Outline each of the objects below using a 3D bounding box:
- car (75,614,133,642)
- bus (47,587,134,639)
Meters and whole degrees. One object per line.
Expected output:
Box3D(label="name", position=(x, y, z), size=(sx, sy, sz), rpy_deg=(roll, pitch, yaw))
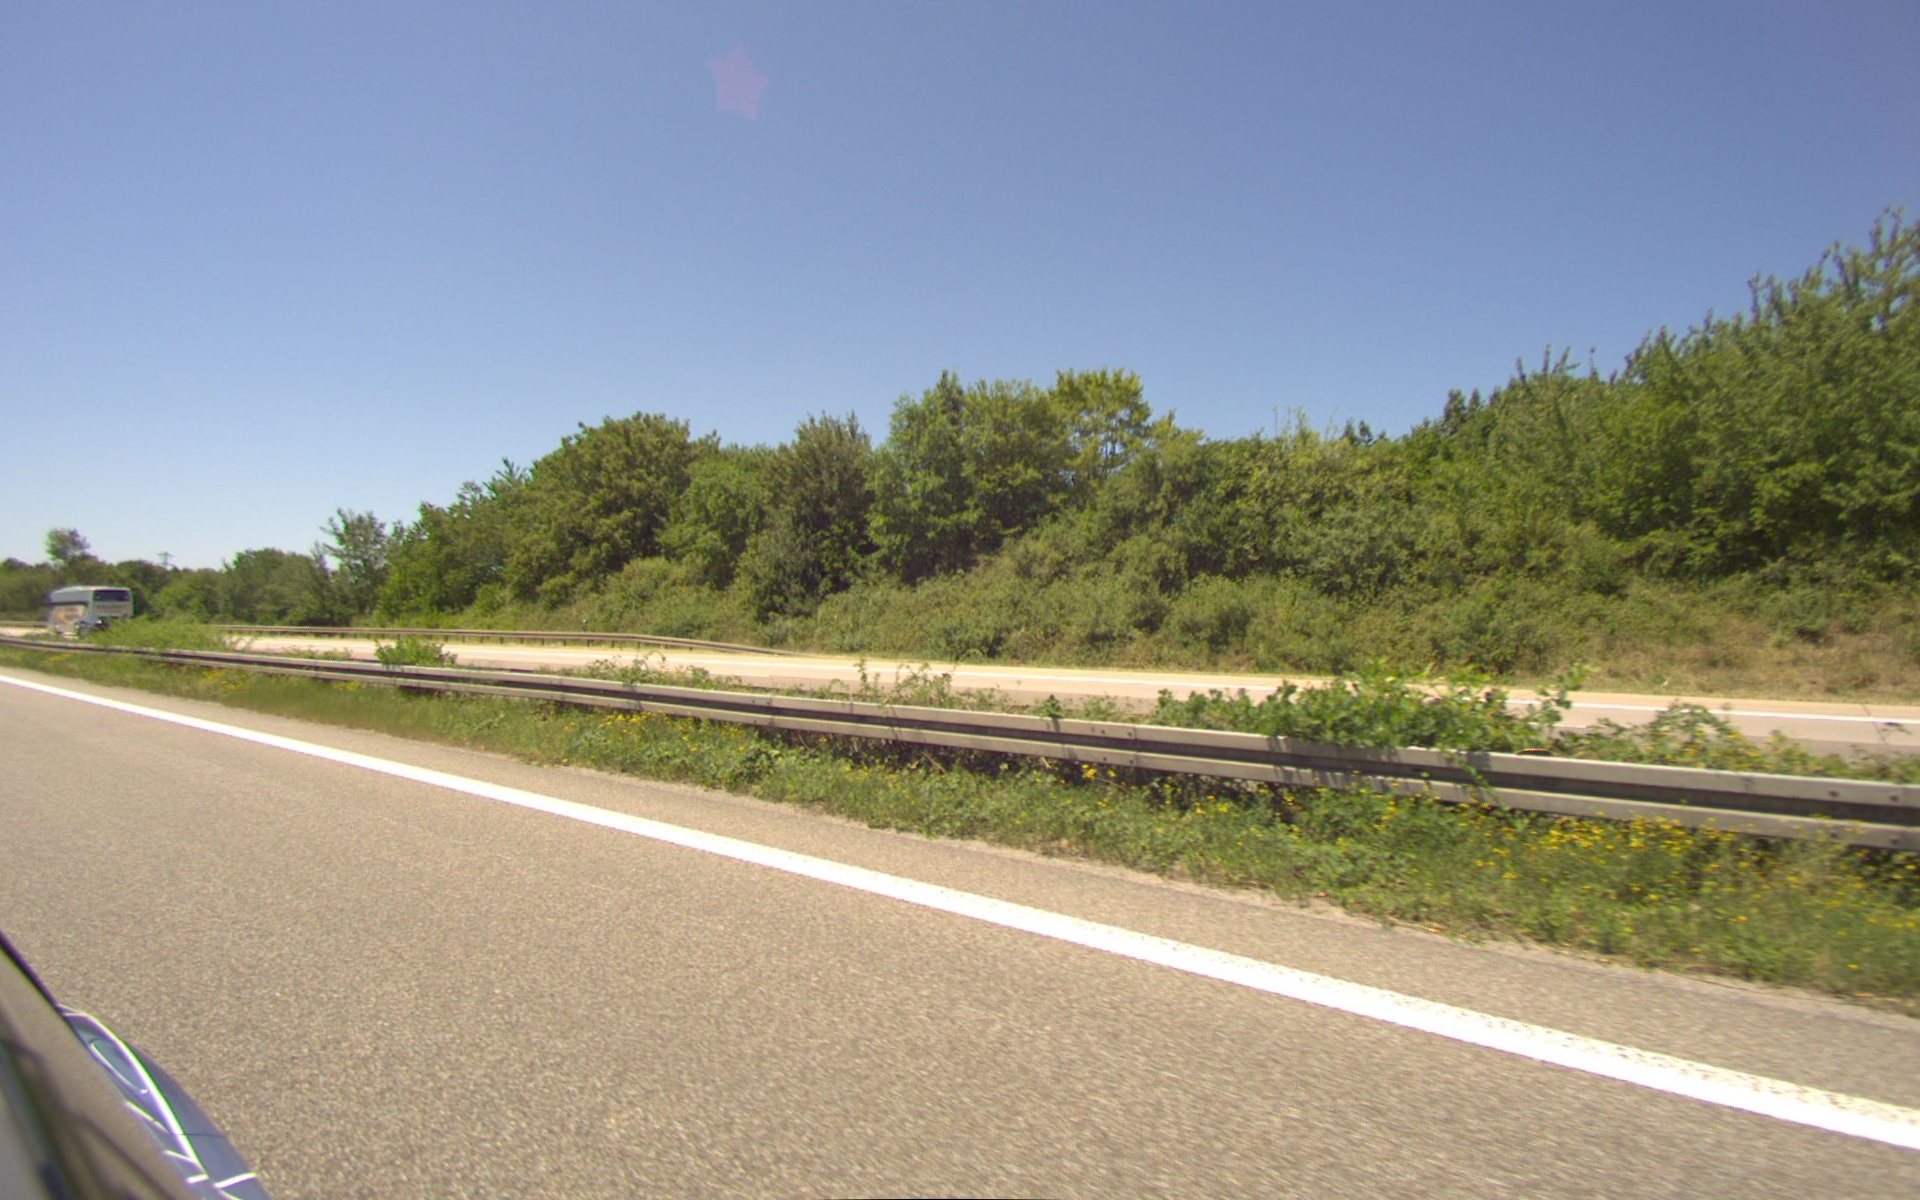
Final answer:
Box3D(label="car", position=(-51.698, 1.703, 61.097), size=(4.553, 1.644, 1.808), rpy_deg=(-1, -2, 39))
Box3D(label="bus", position=(-66.863, 1.030, 77.690), size=(12.983, 3.736, 2.715), rpy_deg=(-1, -1, 39))
